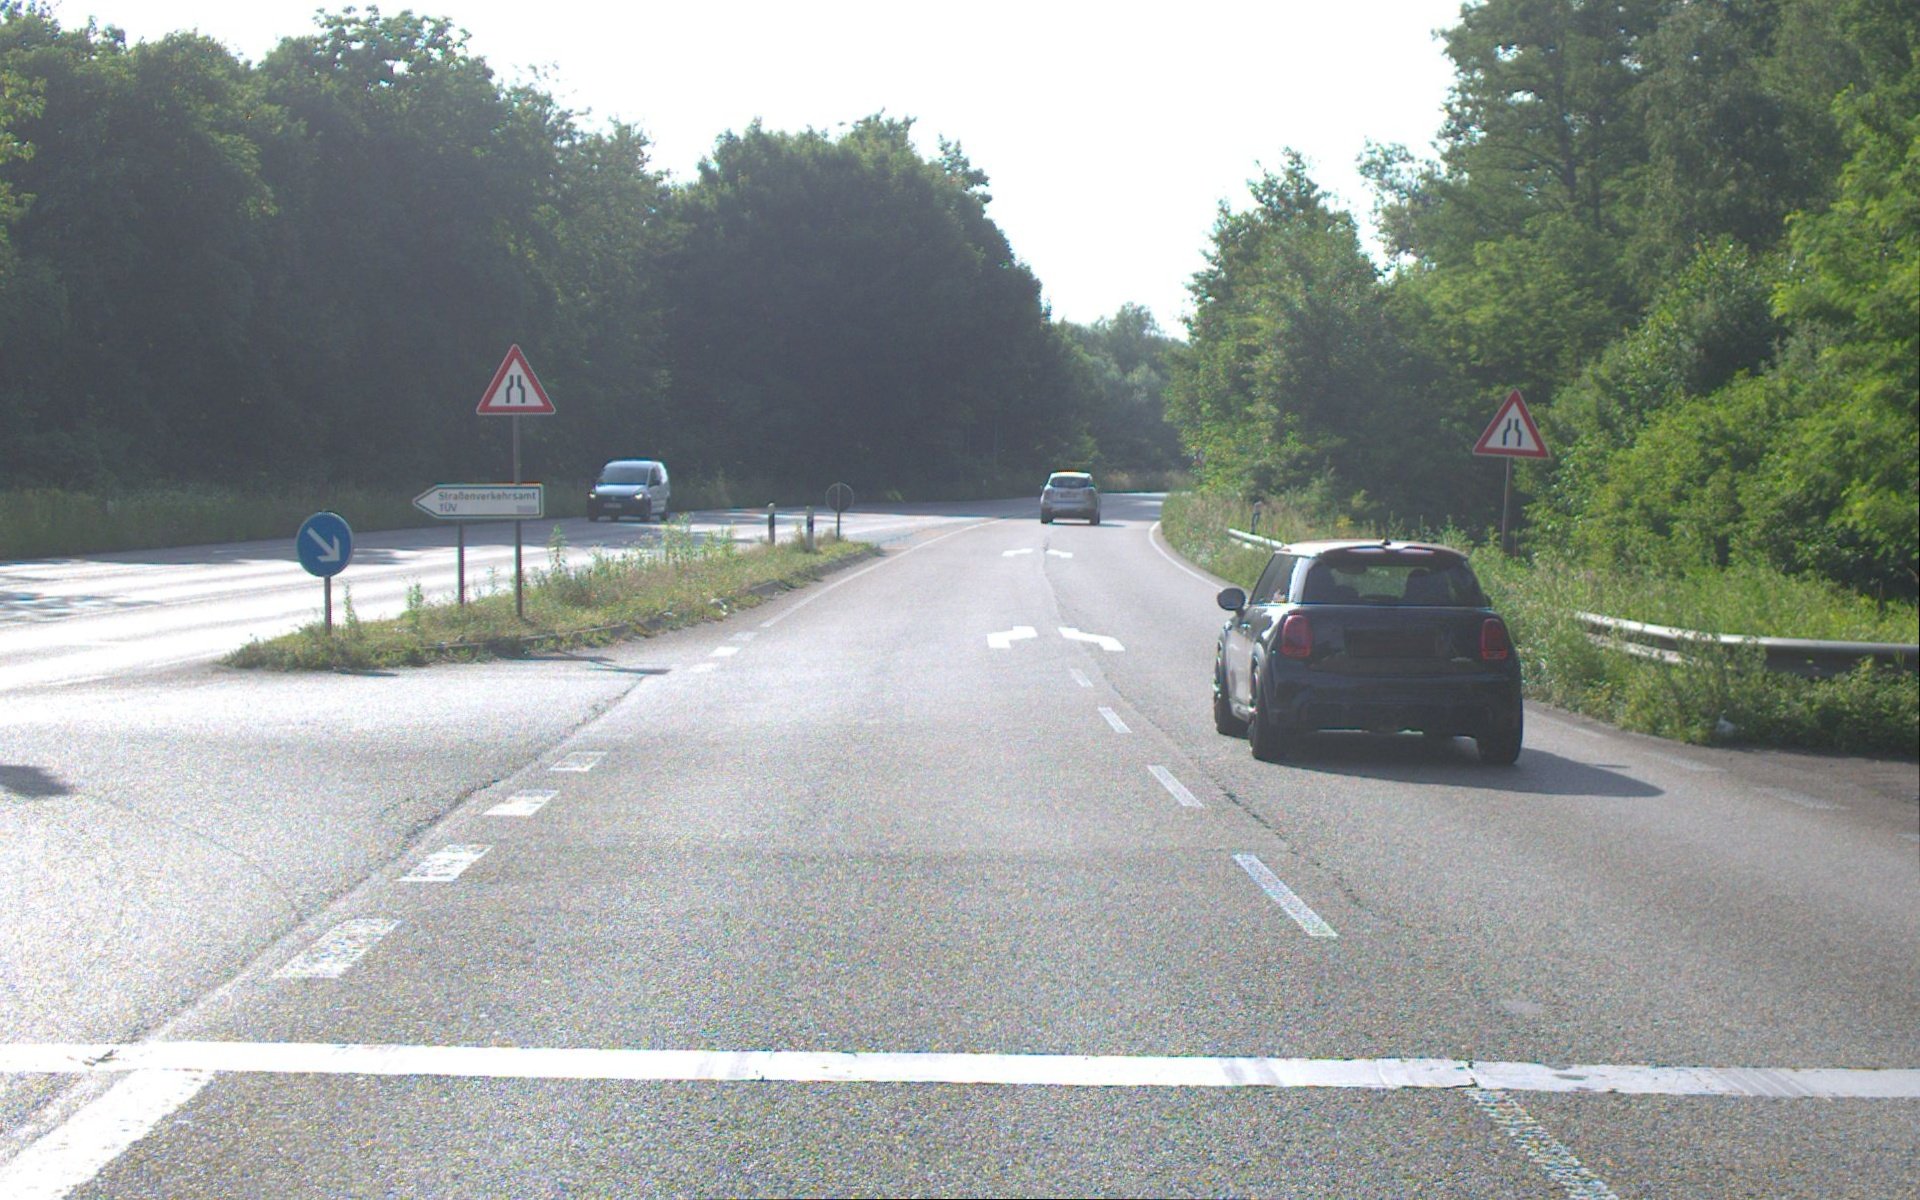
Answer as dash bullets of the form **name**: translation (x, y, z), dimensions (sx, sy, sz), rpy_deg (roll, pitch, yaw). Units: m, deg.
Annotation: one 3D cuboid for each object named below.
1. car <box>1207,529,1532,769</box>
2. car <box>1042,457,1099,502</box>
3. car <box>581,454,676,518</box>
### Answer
- **car**: translation (2.729, 0.273, 23.685), dimensions (1.820, 1.462, 3.873), rpy_deg (2, 1, 1)
- **car**: translation (3.628, -3.936, 112.413), dimensions (1.761, 1.375, 3.971), rpy_deg (2, 1, 3)
- **car**: translation (-9.755, -3.346, 101.508), dimensions (1.851, 1.780, 4.669), rpy_deg (2, 1, 6)
